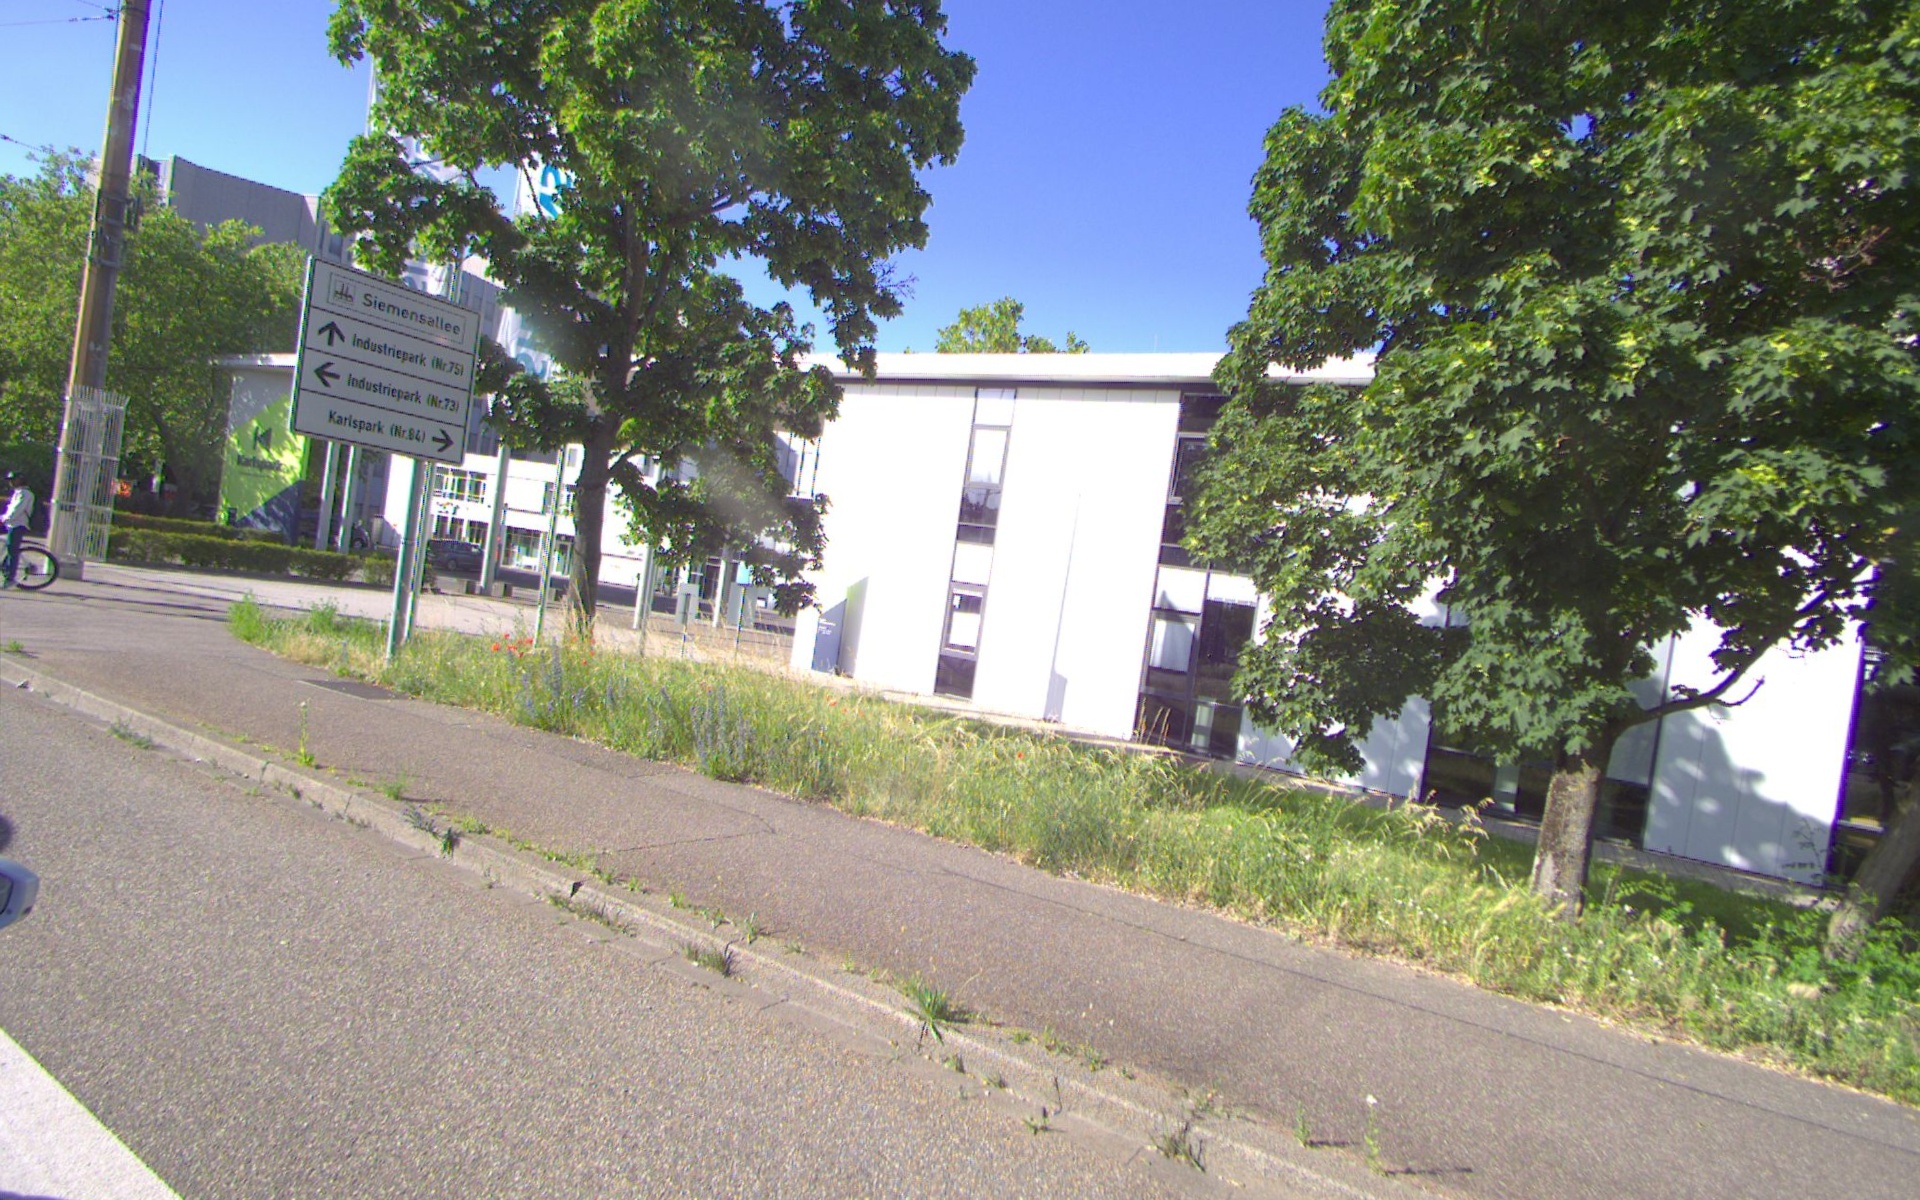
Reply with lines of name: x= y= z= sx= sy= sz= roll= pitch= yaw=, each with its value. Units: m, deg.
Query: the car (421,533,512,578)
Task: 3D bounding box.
car: x=-26.283 y=-2.345 z=53.697 sx=1.865 sy=1.741 sz=4.001 roll=8 pitch=-1 yaw=22

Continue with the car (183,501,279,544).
car: x=-42.729 y=-4.511 z=59.062 sx=1.963 sy=1.778 sz=4.002 roll=8 pitch=-1 yaw=19

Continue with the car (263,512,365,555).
car: x=-36.207 y=-3.706 z=56.540 sx=1.841 sy=1.649 sz=4.553 roll=7 pitch=-1 yaw=19

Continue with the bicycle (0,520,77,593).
bicycle: x=-14.680 y=-0.712 z=15.192 sx=0.754 sy=1.010 sz=1.916 roll=7 pitch=1 yaw=42

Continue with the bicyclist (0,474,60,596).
bicyclist: x=-14.482 y=-1.013 z=15.372 sx=0.754 sy=1.767 sz=0.908 roll=7 pitch=1 yaw=42
